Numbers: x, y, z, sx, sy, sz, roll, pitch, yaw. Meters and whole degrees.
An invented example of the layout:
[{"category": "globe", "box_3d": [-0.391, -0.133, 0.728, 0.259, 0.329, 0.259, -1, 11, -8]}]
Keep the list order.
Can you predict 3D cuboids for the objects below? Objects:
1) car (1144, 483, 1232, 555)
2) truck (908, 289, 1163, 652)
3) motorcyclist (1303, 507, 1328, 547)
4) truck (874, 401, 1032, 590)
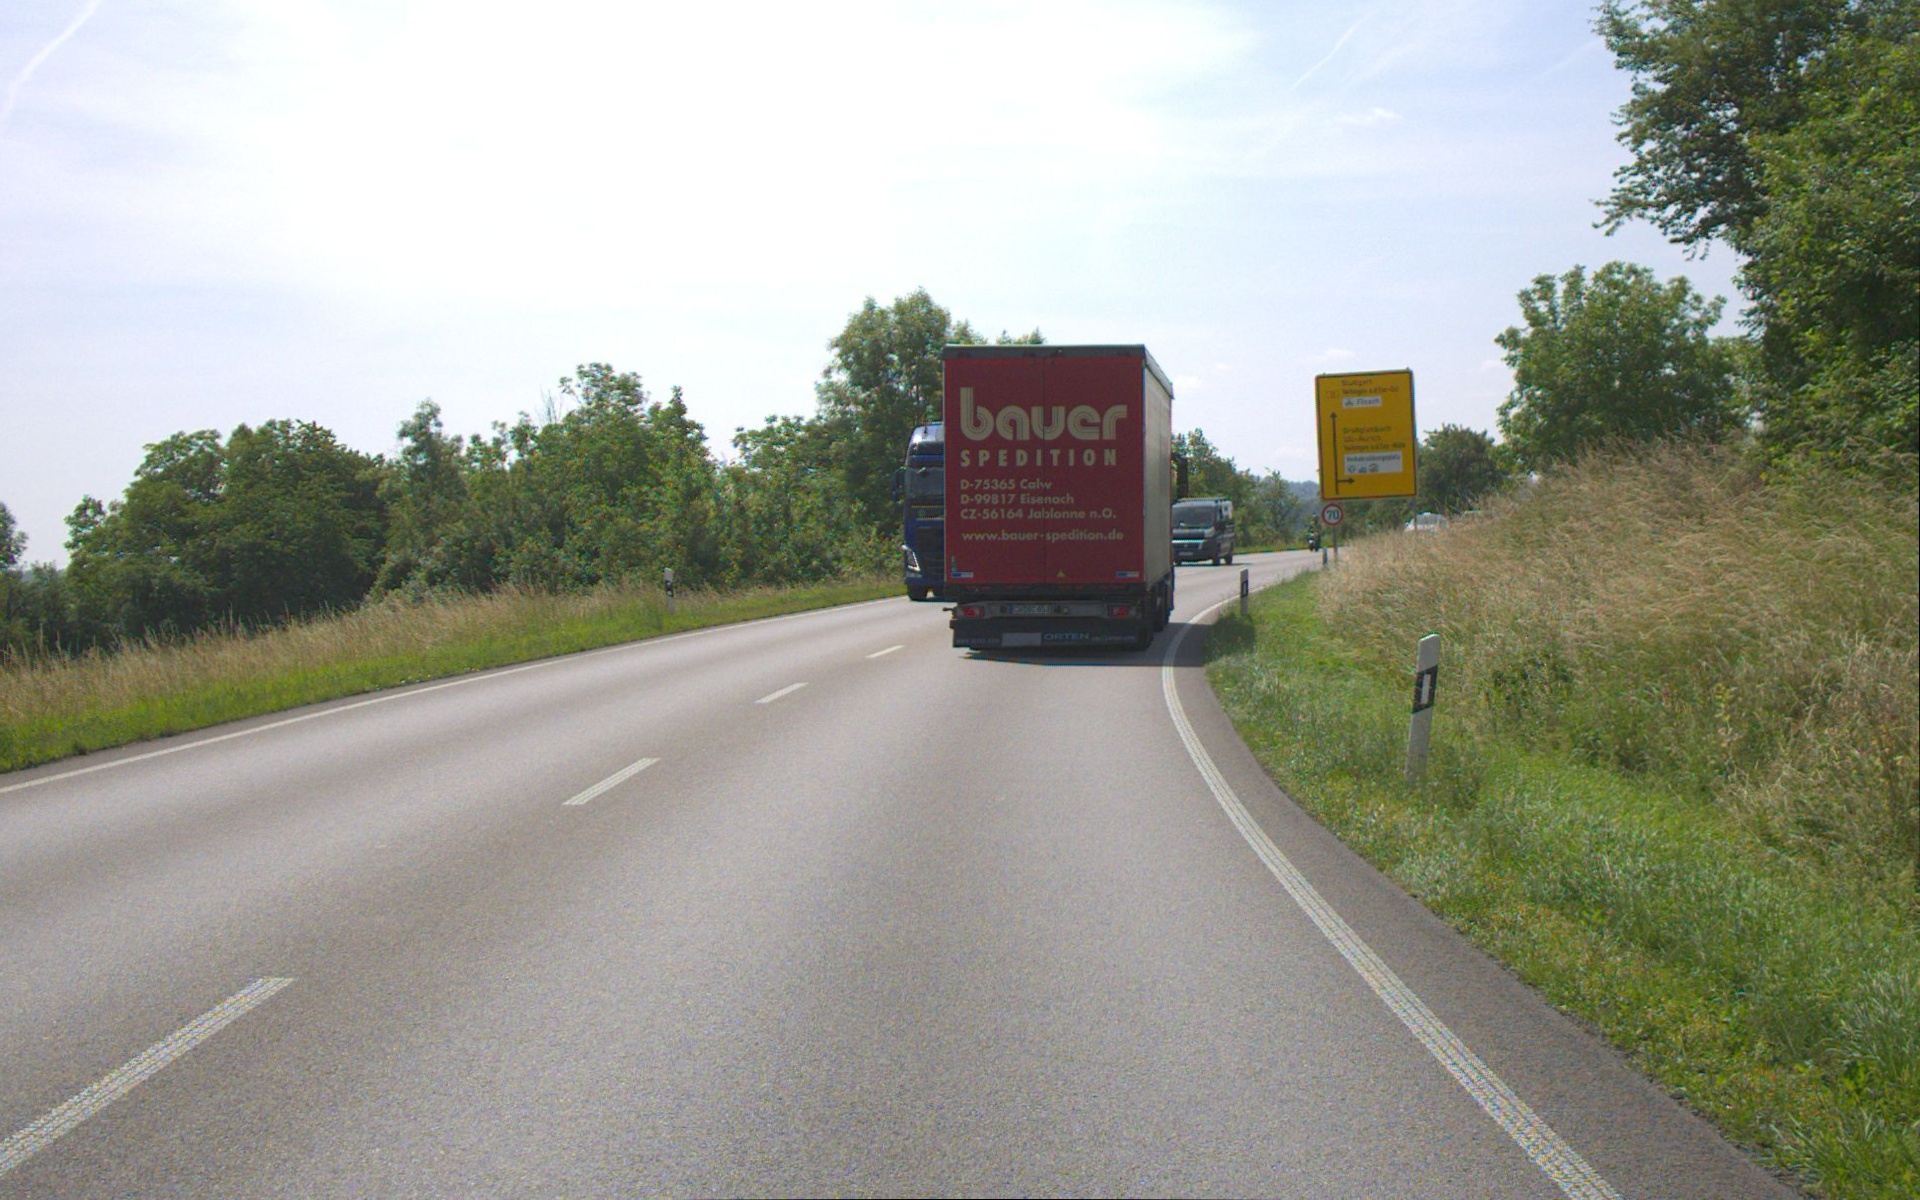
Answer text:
[{"category": "car", "box_3d": [7.996, -2.851, 120.069, 2.172, 2.295, 4.904, -4, 1, 13]}, {"category": "truck", "box_3d": [1.292, -1.767, 48.751, 3.112, 4.490, 12.167, 0, 1, 4]}, {"category": "motorcyclist", "box_3d": [15.511, -3.190, 149.809, 0.919, 1.712, 0.962, 0, 1, 16]}, {"category": "truck", "box_3d": [-0.085, -2.331, 77.428, 2.807, 4.053, 5.984, -1, 1, 7]}]
